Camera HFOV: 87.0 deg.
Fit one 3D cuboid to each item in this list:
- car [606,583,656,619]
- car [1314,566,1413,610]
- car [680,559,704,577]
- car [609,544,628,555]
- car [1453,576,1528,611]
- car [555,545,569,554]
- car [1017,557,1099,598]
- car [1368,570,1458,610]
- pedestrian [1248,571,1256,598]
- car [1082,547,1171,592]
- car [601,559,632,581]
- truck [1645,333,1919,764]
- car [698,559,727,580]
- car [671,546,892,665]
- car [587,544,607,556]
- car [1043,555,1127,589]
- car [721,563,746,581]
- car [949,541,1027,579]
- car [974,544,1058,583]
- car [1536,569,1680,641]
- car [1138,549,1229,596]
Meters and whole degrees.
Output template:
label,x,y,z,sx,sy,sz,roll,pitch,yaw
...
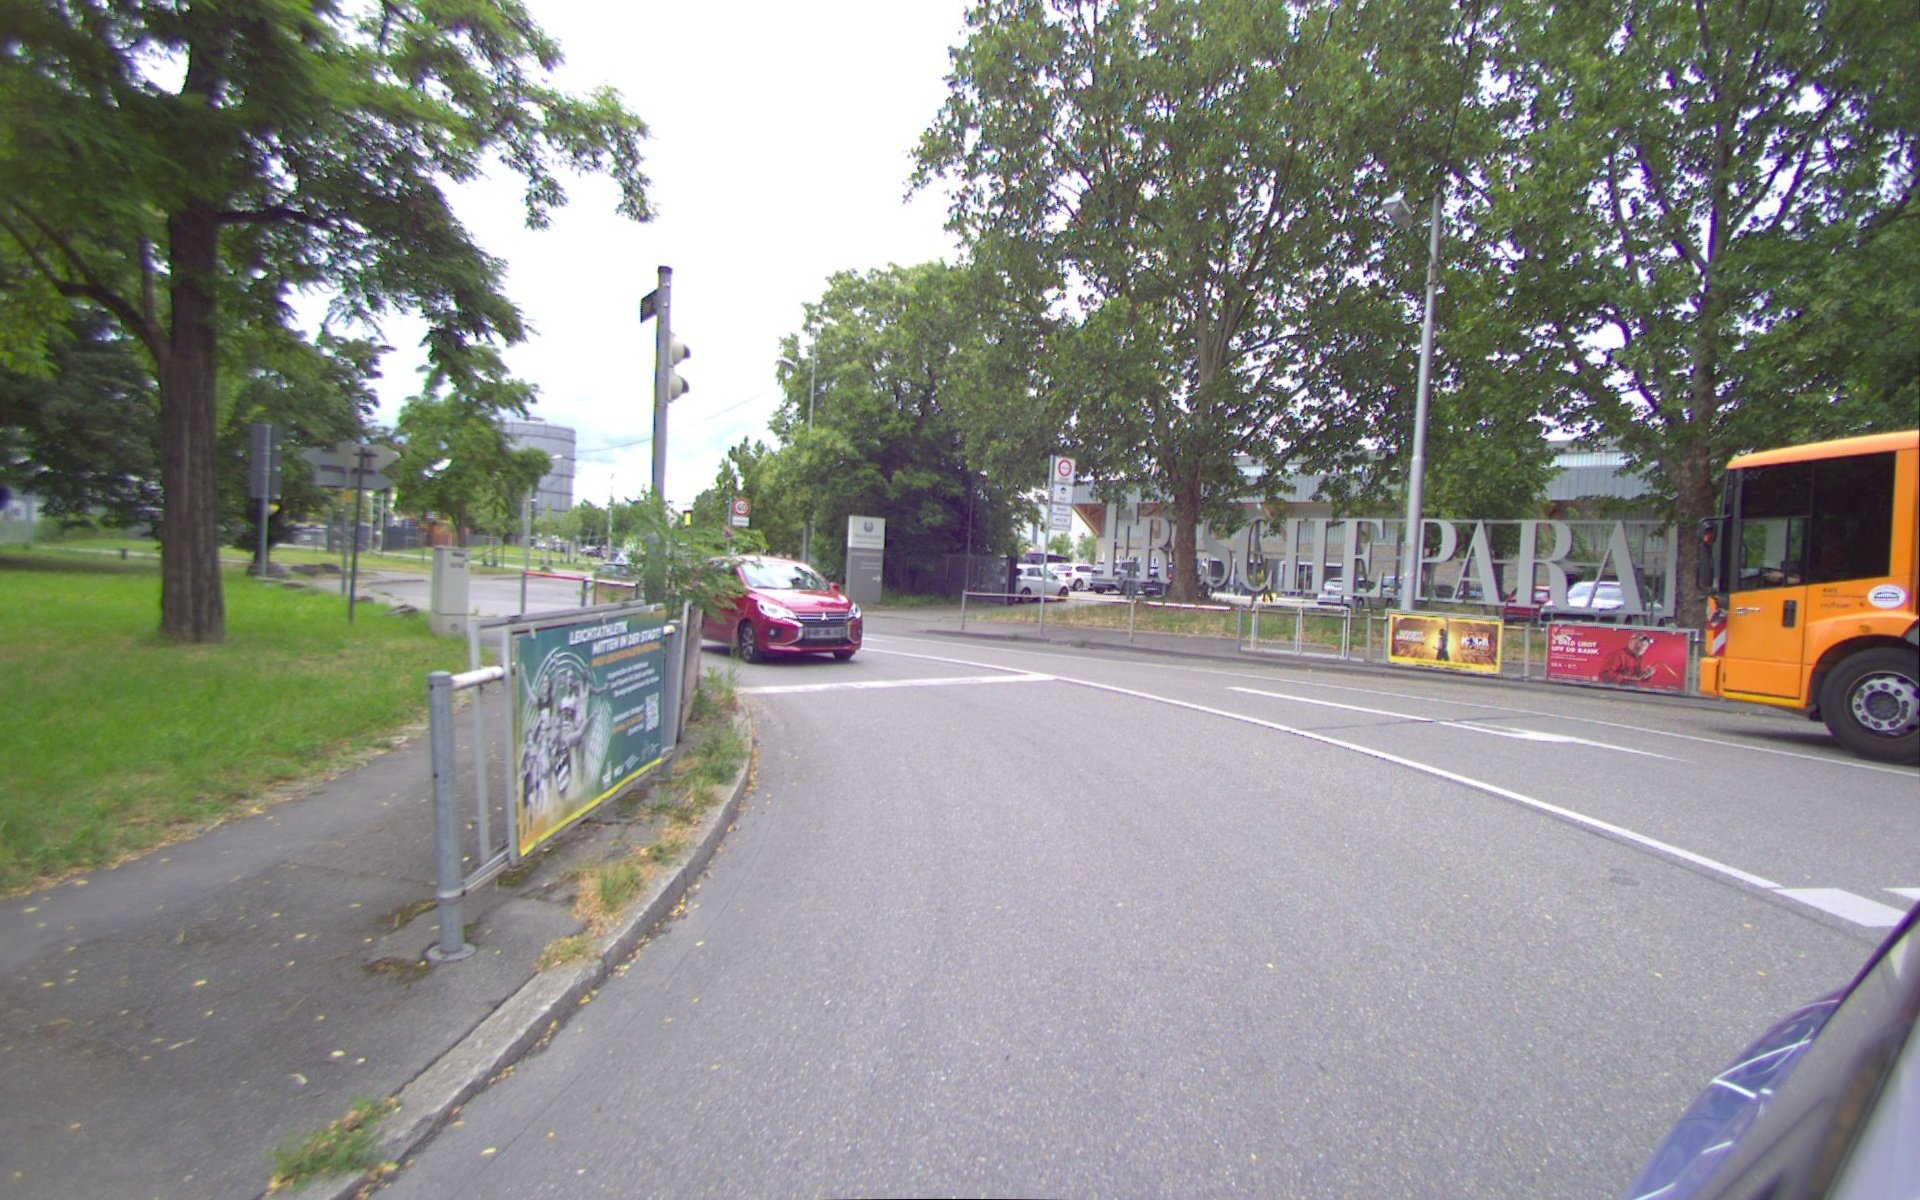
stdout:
label,x,y,z,sx,sy,sz,roll,pitch,yaw
car,-16.876,0.026,52.090,1.811,1.656,4.193,4,0,-11
car,17.071,-0.488,42.700,4.560,1.580,1.997,2,2,-42
car,-24.905,-2.998,94.202,2.005,1.554,3.952,0,4,-13
car,-50.915,-7.565,150.798,2.006,1.555,3.949,2,2,-29
car,28.107,-0.328,53.564,4.560,1.580,1.997,2,2,-42
car,-75.395,-9.627,191.716,2.005,1.555,3.950,4,1,-26
car,5.563,-1.271,57.305,4.560,2.038,1.997,2,2,-42
car,20.584,-0.444,45.942,4.560,1.580,1.997,2,2,-42
pedestrian,19.320,-1.041,67.030,0.338,1.787,0.434,4,0,25
car,8.555,-1.539,51.834,4.560,2.038,1.997,2,2,-42
car,-27.143,-2.383,79.857,2.005,1.554,3.951,-1,4,-24
truck,9.886,-0.314,6.011,2.739,3.570,10.444,2,1,-13
car,-18.880,-2.339,77.250,1.682,1.424,3.376,3,1,-6
car,-2.766,-0.005,15.024,1.701,1.483,3.835,0,3,-36
car,-51.204,-7.099,142.531,2.006,1.555,3.949,2,2,-29
car,6.788,-1.518,54.654,4.560,1.577,1.997,2,2,-42
car,-19.730,-2.453,88.100,1.682,1.424,3.376,3,1,-6
car,1.793,-2.488,63.368,4.740,2.038,1.997,2,2,-42
car,3.363,-2.153,60.388,5.014,2.023,1.997,2,2,-42
car,16.970,0.150,26.416,4.445,1.633,1.882,3,2,-41
car,10.965,-1.328,49.474,4.560,2.038,1.997,2,2,-42
